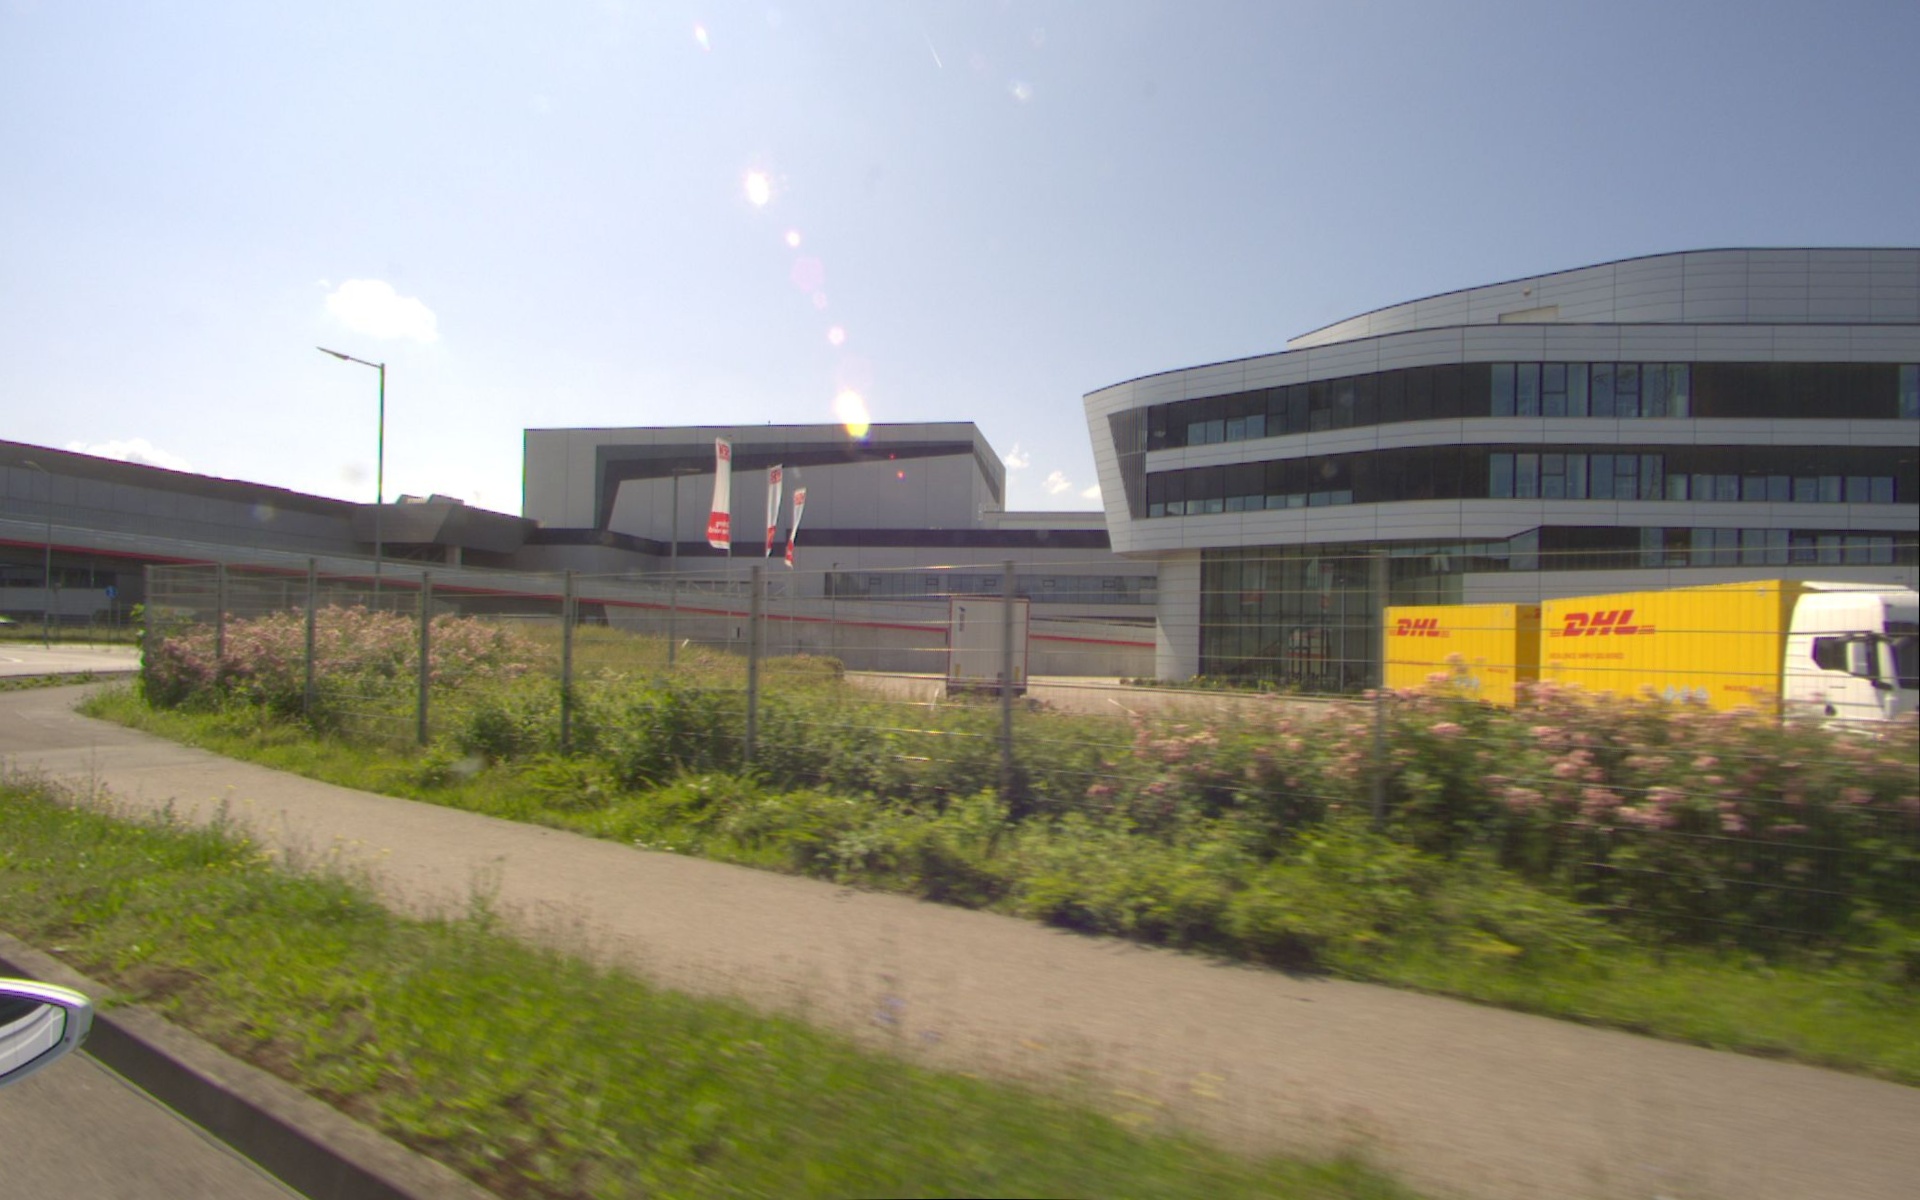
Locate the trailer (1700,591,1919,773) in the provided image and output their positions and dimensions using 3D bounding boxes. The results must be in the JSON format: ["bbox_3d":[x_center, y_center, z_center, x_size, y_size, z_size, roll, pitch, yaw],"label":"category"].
[{"bbox_3d":[24.392,2.030,26.690,2.970,4.351,8.718,0,-1,1],"label":"trailer"}]

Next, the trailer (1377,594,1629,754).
[{"bbox_3d":[16.623,2.120,31.635,2.845,4.351,8.717,0,-1,-3],"label":"trailer"}]

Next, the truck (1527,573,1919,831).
[{"bbox_3d":[16.837,1.810,21.887,2.767,4.226,10.977,0,-1,1],"label":"truck"}]

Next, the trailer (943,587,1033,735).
[{"bbox_3d":[0.807,2.036,37.559,2.712,4.495,14.067,0,-1,0],"label":"trailer"}]
